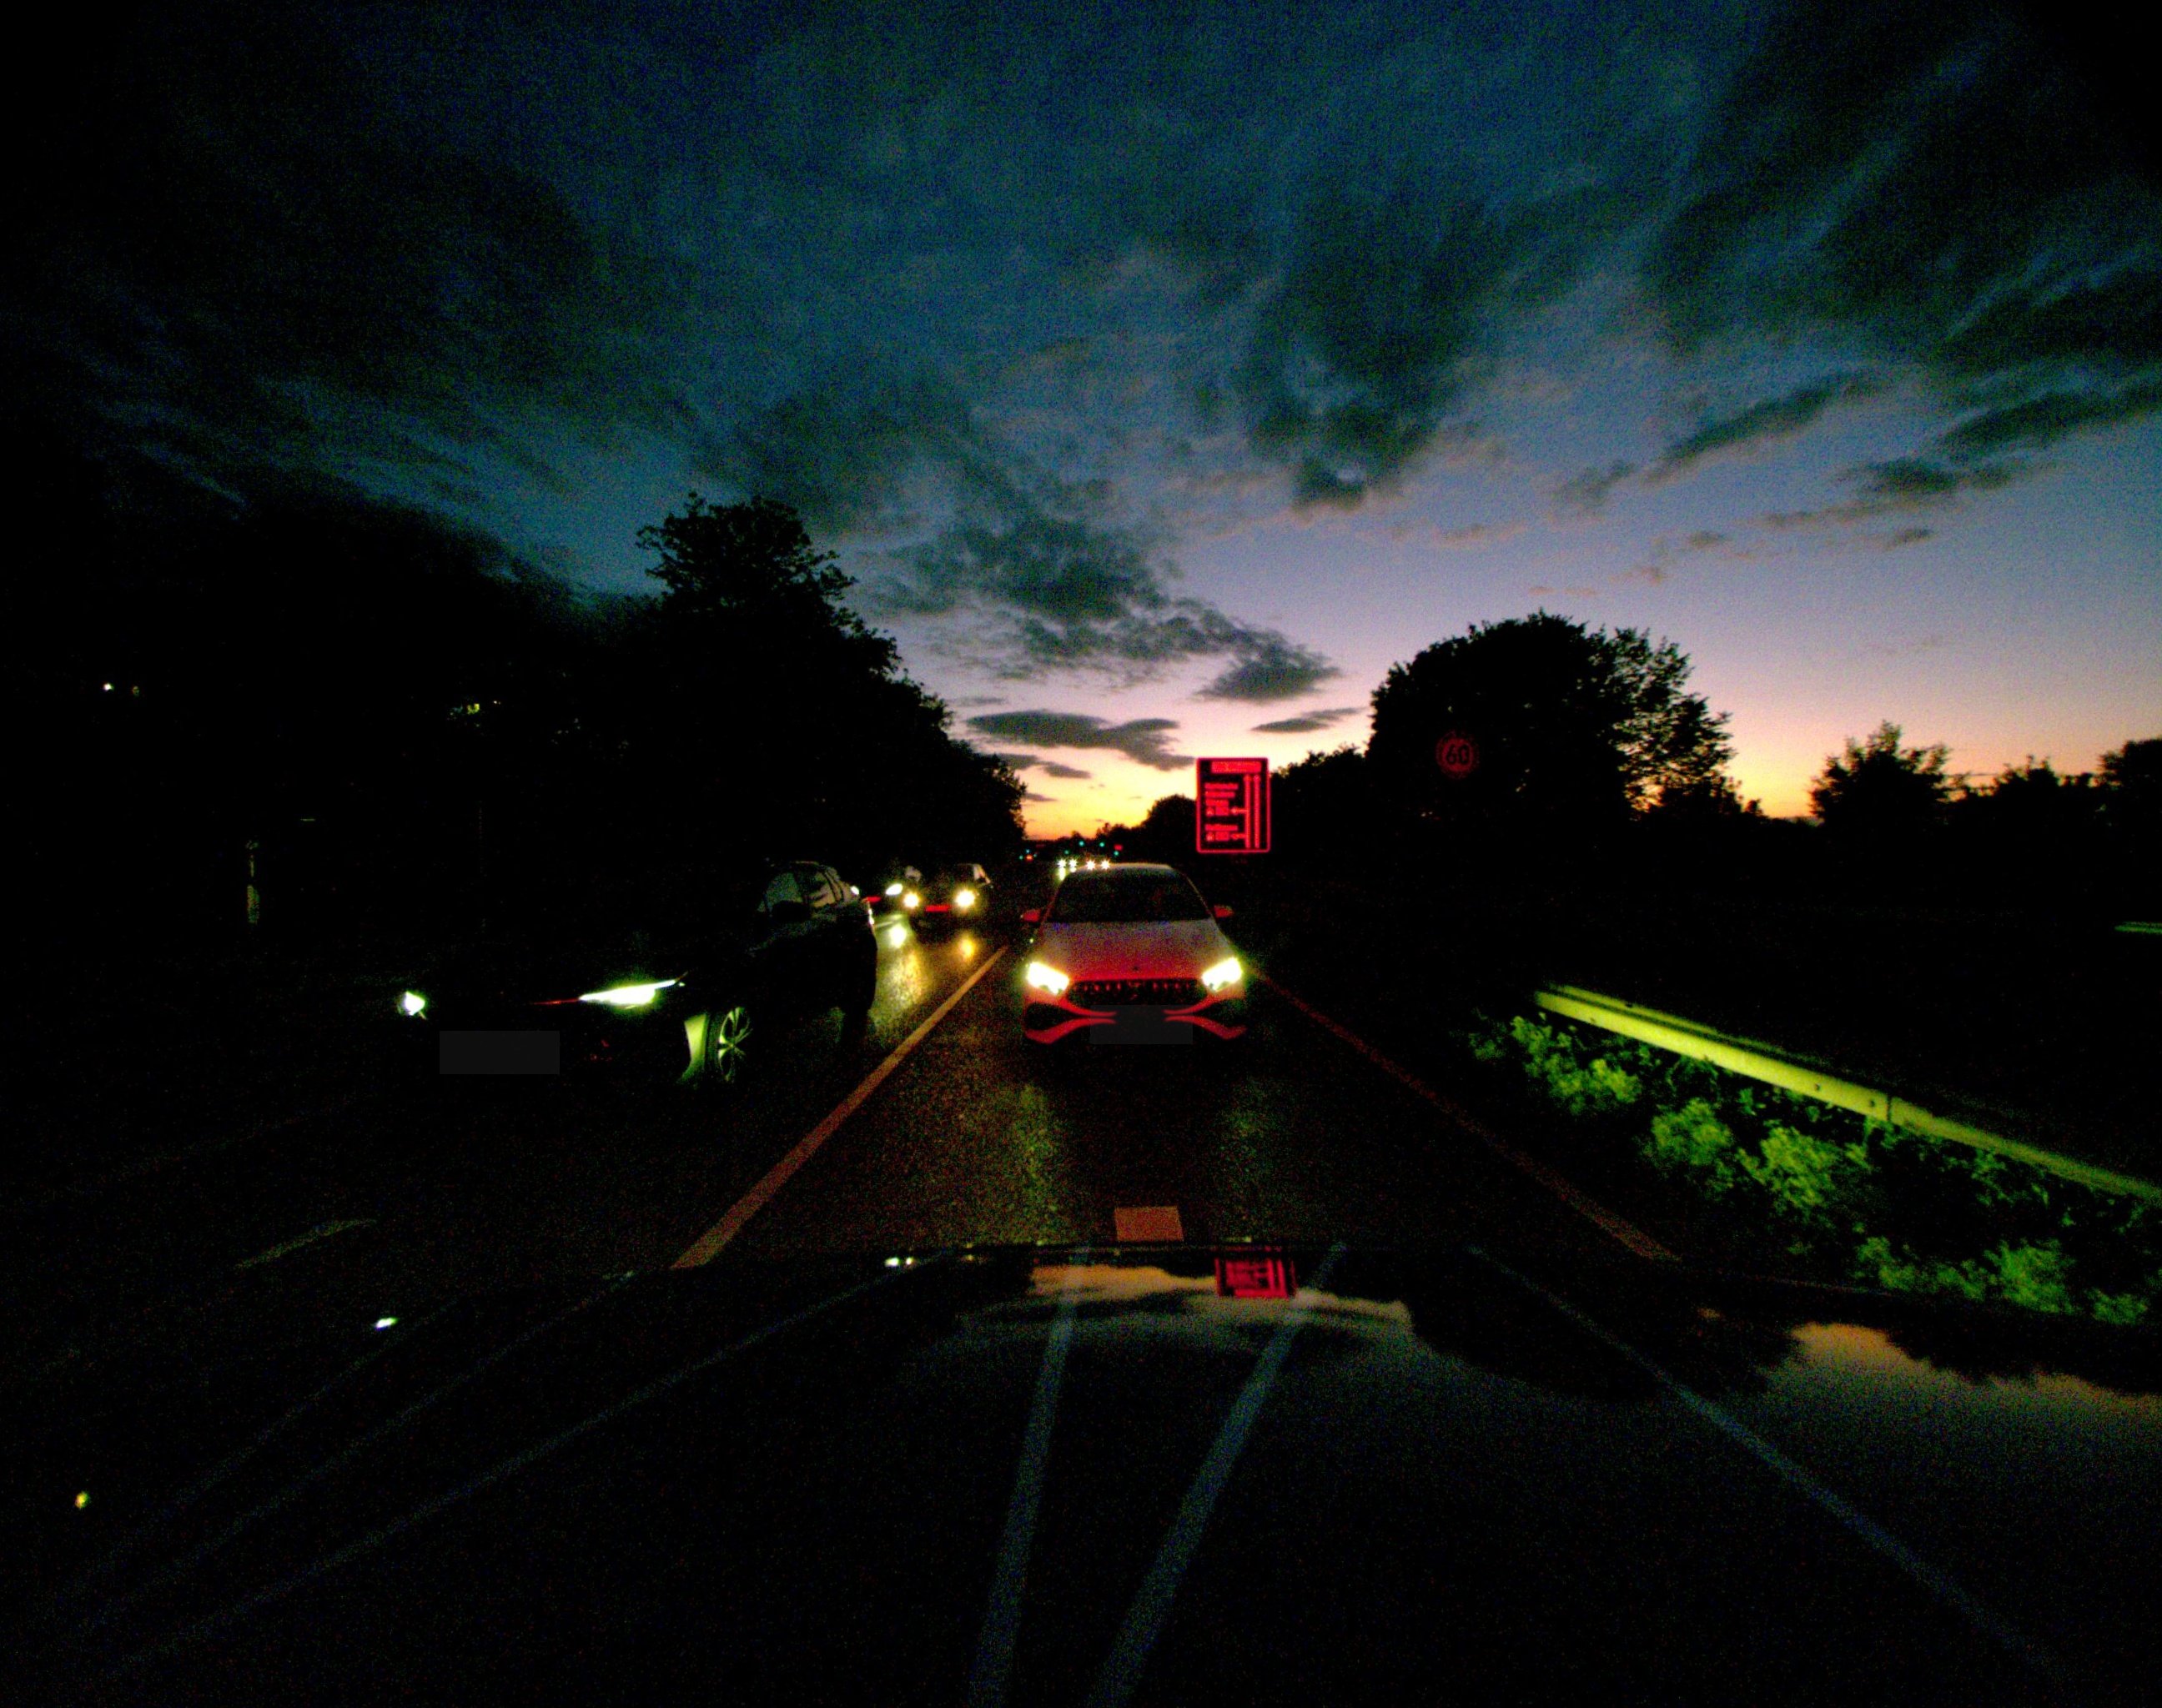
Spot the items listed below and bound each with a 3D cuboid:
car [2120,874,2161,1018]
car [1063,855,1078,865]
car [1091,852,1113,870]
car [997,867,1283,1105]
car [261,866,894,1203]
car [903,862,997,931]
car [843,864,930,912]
[{"bbox_3d":[12.407,0.972,6.203,1.998,1.510,4.297,-1,0,1],"label":"car"},{"bbox_3d":[-1.451,0.818,104.307,1.999,1.423,4.501,0,0,-1],"label":"car"},{"bbox_3d":[2.019,0.670,74.314,1.999,1.602,4.501,-1,0,-1],"label":"car"},{"bbox_3d":[0.404,0.938,7.414,1.901,1.472,4.514,-2,0,0],"label":"car"},{"bbox_3d":[-3.177,0.973,6.277,1.998,1.600,4.711,-2,0,1],"label":"car"},{"bbox_3d":[-3.222,0.993,19.339,1.624,1.460,3.871,-2,0,1],"label":"car"},{"bbox_3d":[-6.621,1.117,26.387,1.924,1.423,4.702,-1,0,-2],"label":"car"}]
